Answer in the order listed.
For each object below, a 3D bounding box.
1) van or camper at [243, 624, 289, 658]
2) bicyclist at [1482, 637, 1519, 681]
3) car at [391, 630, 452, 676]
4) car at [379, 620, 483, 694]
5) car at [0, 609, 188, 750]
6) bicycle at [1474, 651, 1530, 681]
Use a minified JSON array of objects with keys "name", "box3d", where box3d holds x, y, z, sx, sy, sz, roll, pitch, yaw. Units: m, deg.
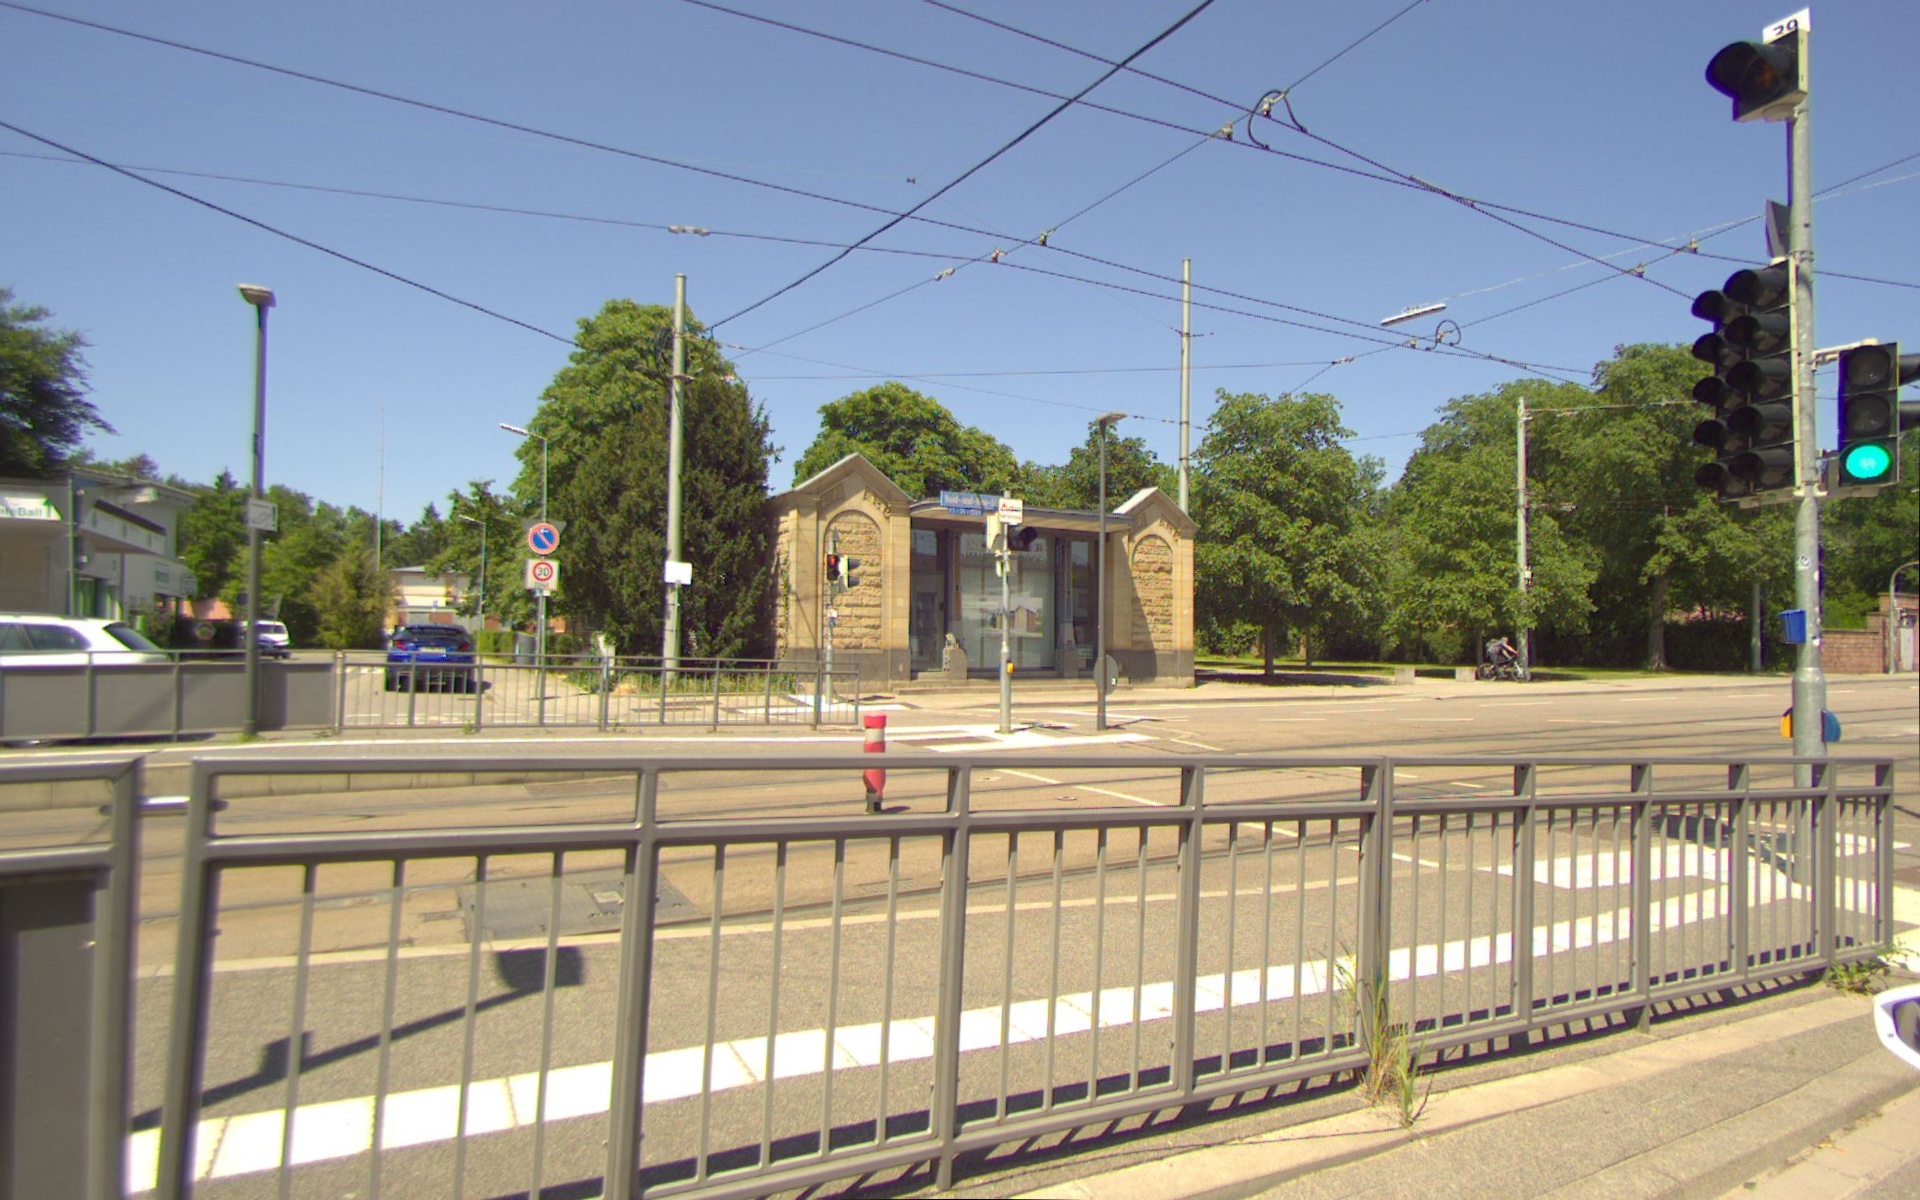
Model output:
[{"name":"van or camper","box3d":[-33.781,1.996,48.868,1.675,1.587,3.787,2,-2,-37]},{"name":"bicyclist","box3d":[19.350,2.101,35.972,0.834,1.551,0.848,1,-2,-27]},{"name":"car","box3d":[-17.497,1.731,32.747,1.624,1.388,3.787,2,-3,-27]},{"name":"car","box3d":[-12.238,1.261,23.463,1.798,1.471,3.936,1,0,-23]},{"name":"car","box3d":[-11.480,0.847,11.096,4.449,1.509,1.808,2,-2,-32]},{"name":"bicycle","box3d":[19.441,2.364,36.026,2.076,1.054,0.712,2,-2,-27]}]
